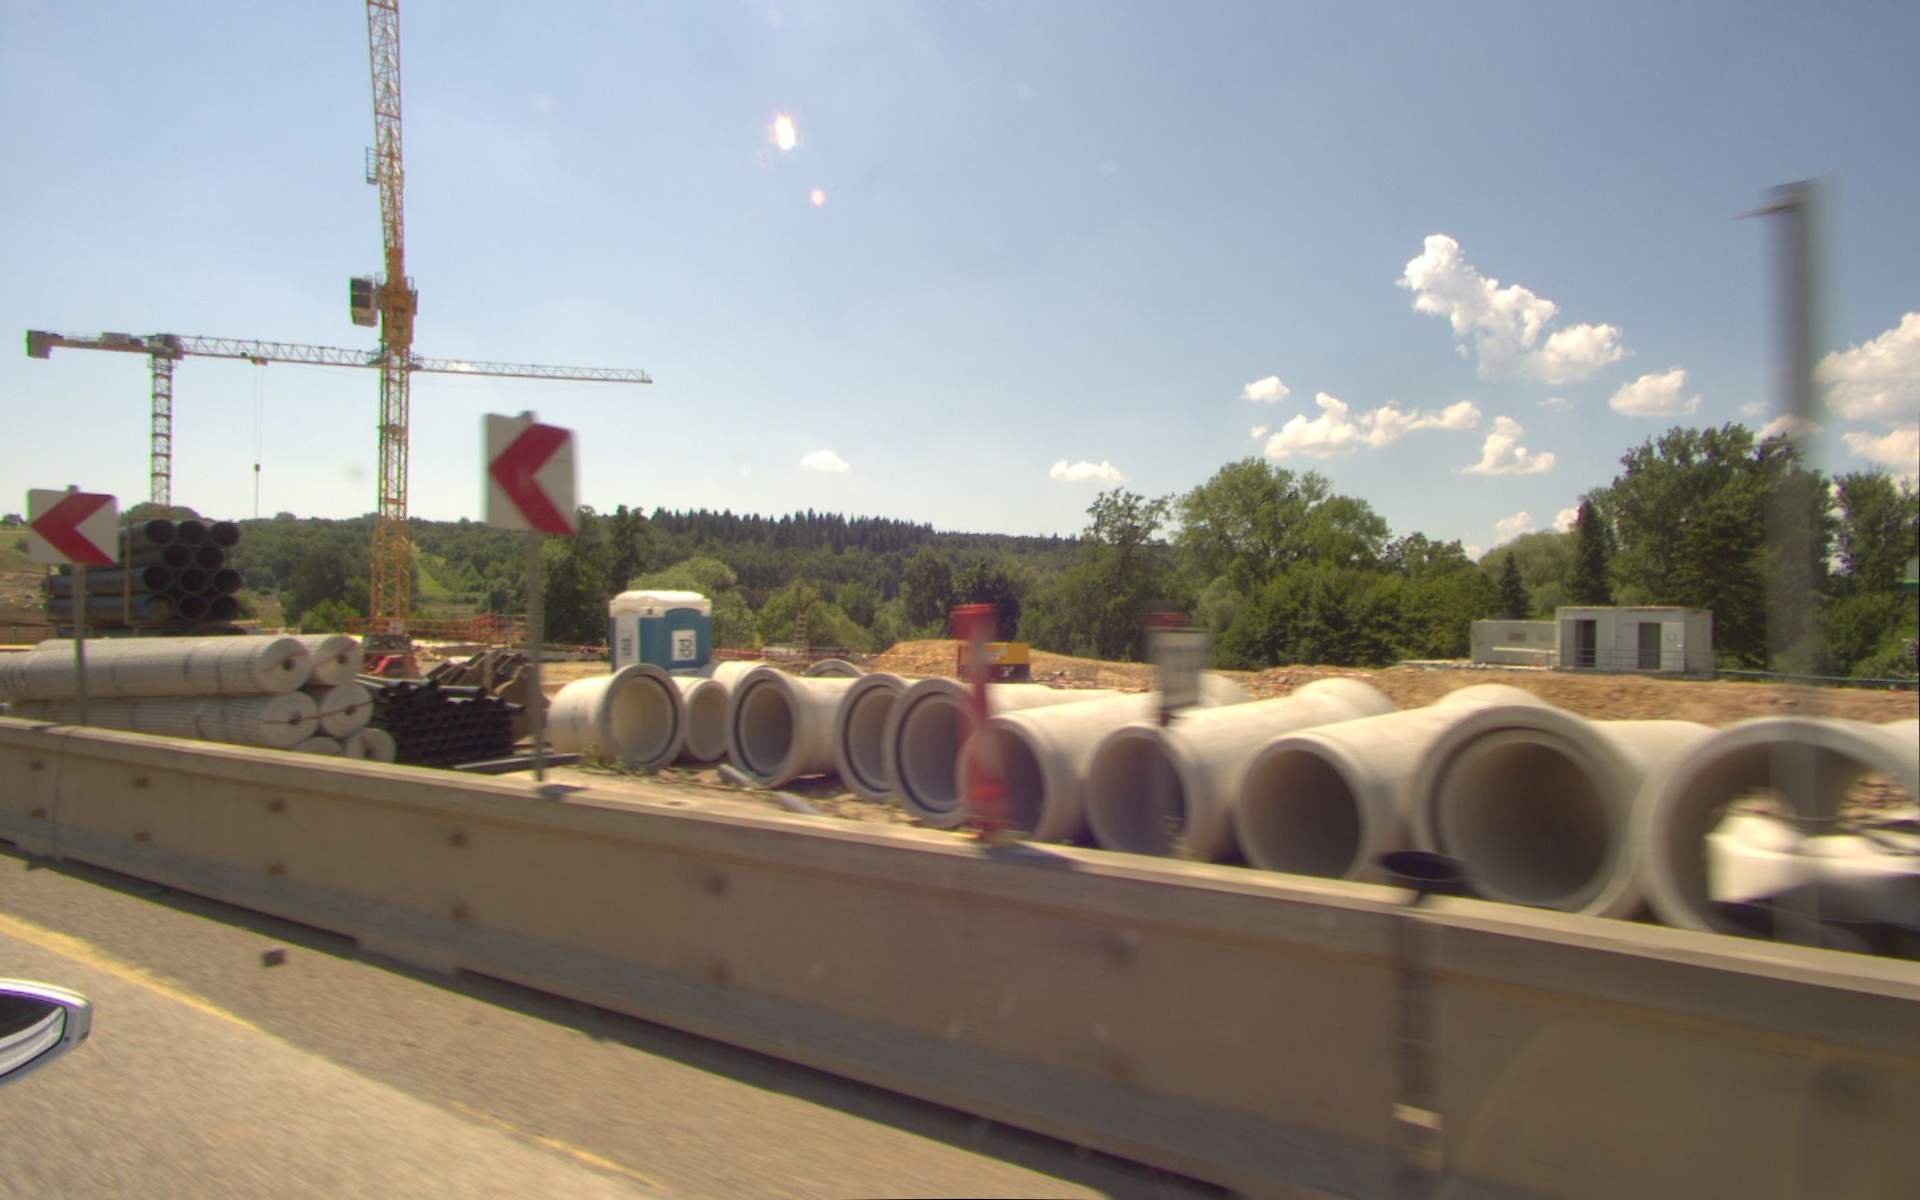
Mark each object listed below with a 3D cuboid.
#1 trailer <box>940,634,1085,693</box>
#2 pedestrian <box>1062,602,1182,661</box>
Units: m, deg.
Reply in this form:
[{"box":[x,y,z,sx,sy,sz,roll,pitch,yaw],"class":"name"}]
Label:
[{"box":[1.417,1.718,27.777,3.778,1.505,1.618,-1,-2,38],"class":"trailer"},{"box":[6.064,1.210,37.688,3.955,2.039,1.985,-4,-3,40],"class":"pedestrian"}]
